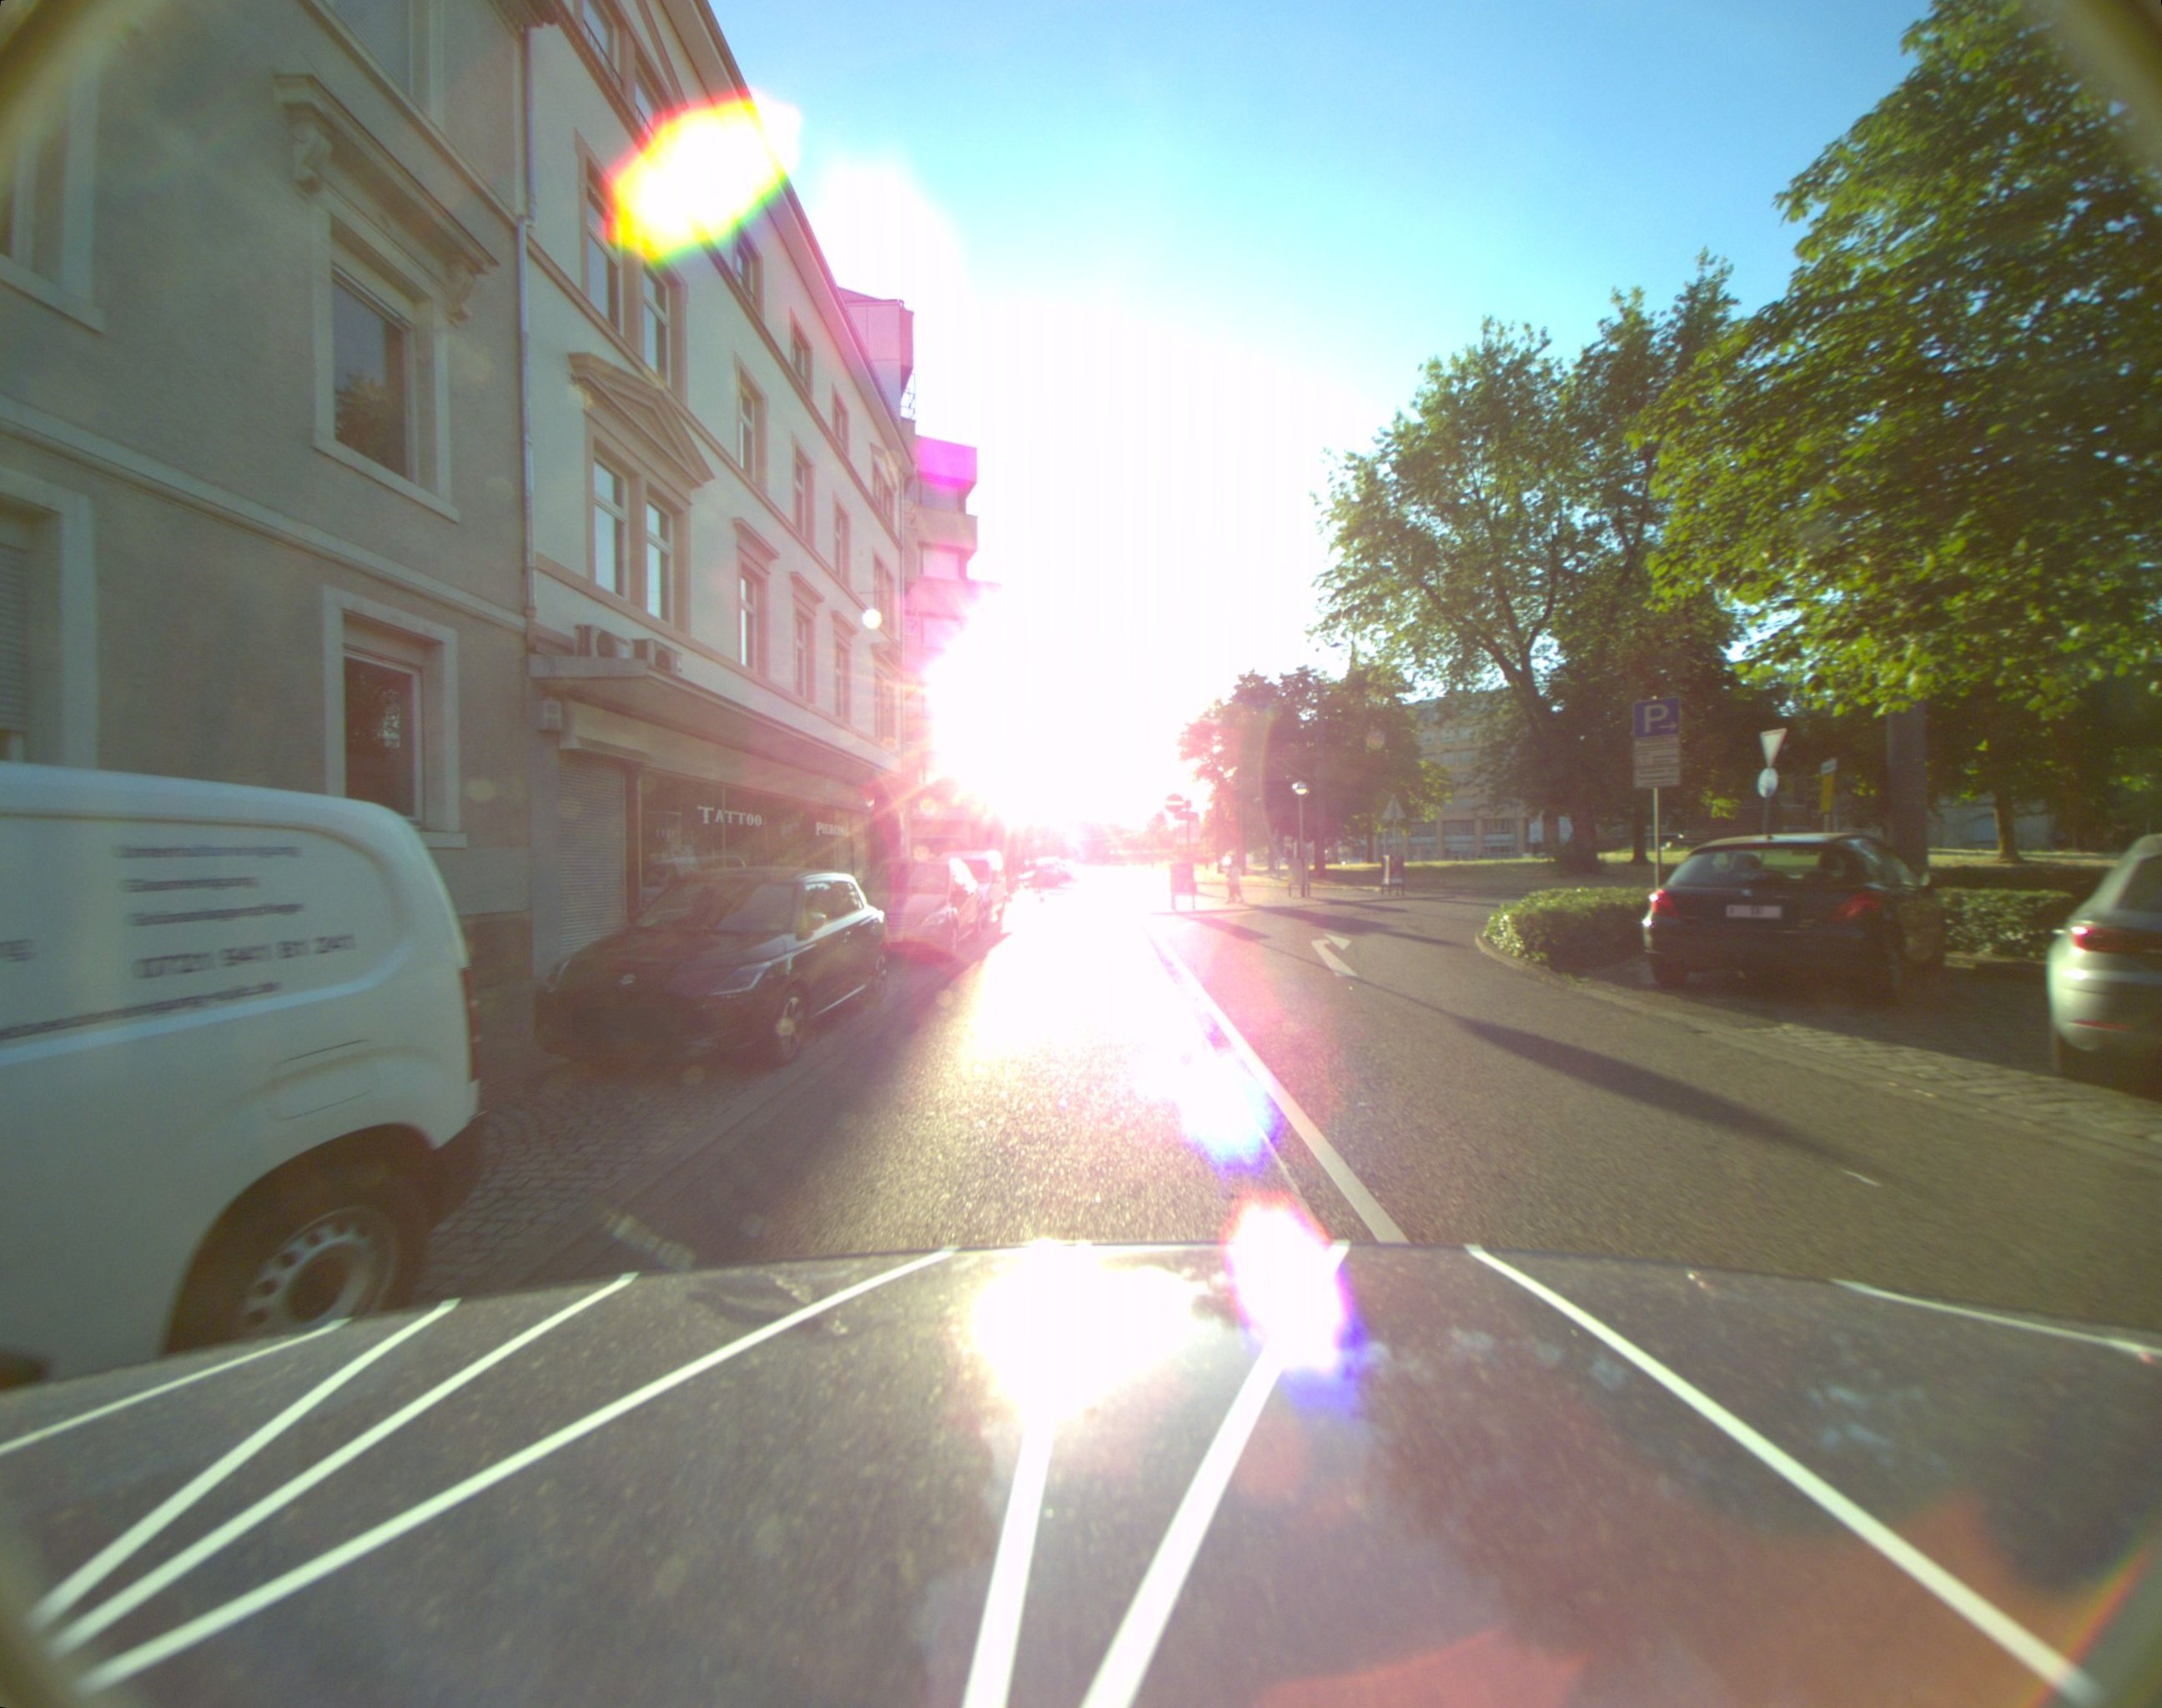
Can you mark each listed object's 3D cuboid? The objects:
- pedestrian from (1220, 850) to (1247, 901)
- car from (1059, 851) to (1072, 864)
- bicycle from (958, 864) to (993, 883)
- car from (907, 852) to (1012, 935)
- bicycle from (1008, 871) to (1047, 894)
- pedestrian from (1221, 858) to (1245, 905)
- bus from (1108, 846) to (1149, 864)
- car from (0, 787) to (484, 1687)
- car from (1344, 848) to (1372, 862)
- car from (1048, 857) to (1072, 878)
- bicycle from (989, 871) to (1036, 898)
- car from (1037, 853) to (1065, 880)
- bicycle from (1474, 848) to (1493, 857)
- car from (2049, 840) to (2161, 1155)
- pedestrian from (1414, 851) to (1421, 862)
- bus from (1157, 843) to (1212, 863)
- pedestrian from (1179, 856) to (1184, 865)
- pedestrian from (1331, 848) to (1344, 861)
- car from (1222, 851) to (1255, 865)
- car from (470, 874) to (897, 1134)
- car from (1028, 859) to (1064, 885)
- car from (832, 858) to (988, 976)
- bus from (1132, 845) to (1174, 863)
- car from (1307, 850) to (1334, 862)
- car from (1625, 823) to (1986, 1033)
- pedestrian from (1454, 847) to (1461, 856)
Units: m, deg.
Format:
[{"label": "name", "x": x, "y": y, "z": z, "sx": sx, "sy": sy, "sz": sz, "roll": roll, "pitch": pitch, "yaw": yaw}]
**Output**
[{"label": "pedestrian", "x": 4.729, "y": 0.663, "z": 23.474, "sx": 0.693, "sy": 1.550, "sz": 0.700, "roll": -2, "pitch": 0, "yaw": 18}, {"label": "car", "x": -1.965, "y": 0.473, "z": 97.093, "sx": 1.655, "sy": 1.525, "sz": 4.066, "roll": -2, "pitch": 0, "yaw": 0}, {"label": "bicycle", "x": -5.899, "y": 1.089, "z": 42.539, "sx": 1.896, "sy": 0.999, "sz": 0.457, "roll": 1, "pitch": 0, "yaw": -37}, {"label": "car", "x": -2.844, "y": 0.859, "z": 18.699, "sx": 1.797, "sy": 1.781, "sz": 4.092, "roll": -1, "pitch": 0, "yaw": 1}, {"label": "bicycle", "x": -2.436, "y": 1.269, "z": 34.482, "sx": 1.788, "sy": 0.984, "sz": 0.543, "roll": 1, "pitch": -1, "yaw": 35}, {"label": "pedestrian", "x": 4.542, "y": 0.807, "z": 22.685, "sx": 0.613, "sy": 1.356, "sz": 0.565, "roll": -2, "pitch": 0, "yaw": 14}, {"label": "bus", "x": 10.423, "y": 0.287, "z": 167.808, "sx": 3.765, "sy": 3.435, "sz": 12.110, "roll": -2, "pitch": 0, "yaw": -24}, {"label": "car", "x": -3.108, "y": 0.796, "z": 0.595, "sx": 1.714, "sy": 1.824, "sz": 4.307, "roll": -2, "pitch": 0, "yaw": 2}, {"label": "car", "x": 44.391, "y": 0.184, "z": 121.711, "sx": 1.858, "sy": 2.002, "sz": 3.903, "roll": -2, "pitch": 0, "yaw": -29}, {"label": "car", "x": -1.643, "y": 1.056, "z": 60.604, "sx": 1.645, "sy": 1.519, "sz": 4.001, "roll": -2, "pitch": 0, "yaw": 2}, {"label": "bicycle", "x": -2.727, "y": 1.208, "z": 30.298, "sx": 1.789, "sy": 0.984, "sz": 0.543, "roll": 1, "pitch": -1, "yaw": 24}, {"label": "car", "x": -2.140, "y": 0.910, "z": 55.277, "sx": 1.788, "sy": 1.794, "sz": 4.401, "roll": -2, "pitch": 0, "yaw": 0}, {"label": "bicycle", "x": 52.760, "y": -0.145, "z": 99.621, "sx": 2.194, "sy": 1.006, "sz": 0.473, "roll": 6, "pitch": 6, "yaw": 45}, {"label": "car", "x": 7.180, "y": 0.665, "z": 4.456, "sx": 4.007, "sy": 1.478, "sz": 1.828, "roll": -2, "pitch": 0, "yaw": -38}, {"label": "pedestrian", "x": 51.218, "y": 0.337, "z": 115.633, "sx": 0.532, "sy": 1.682, "sz": 0.617, "roll": -2, "pitch": 0, "yaw": -16}, {"label": "bus", "x": 19.711, "y": -0.088, "z": 146.426, "sx": 3.765, "sy": 3.342, "sz": 13.689, "roll": -2, "pitch": 0, "yaw": -23}, {"label": "pedestrian", "x": 16.520, "y": 0.995, "z": 125.219, "sx": 0.672, "sy": 1.450, "sz": 0.699, "roll": -2, "pitch": 0, "yaw": -3}, {"label": "pedestrian", "x": 41.388, "y": 0.077, "z": 122.576, "sx": 1.061, "sy": 2.082, "sz": 1.630, "roll": -2, "pitch": 0, "yaw": -28}, {"label": "car", "x": 35.336, "y": 0.909, "z": 170.489, "sx": 7.209, "sy": 2.860, "sz": 2.305, "roll": -1, "pitch": -1, "yaw": -22}, {"label": "car", "x": -3.001, "y": 1.010, "z": 6.781, "sx": 1.671, "sy": 1.535, "sz": 3.883, "roll": -2, "pitch": 0, "yaw": 1}, {"label": "car", "x": -2.119, "y": 1.064, "z": 46.914, "sx": 1.794, "sy": 1.498, "sz": 3.921, "roll": -2, "pitch": 0, "yaw": 2}, {"label": "car", "x": -2.732, "y": 0.930, "z": 13.083, "sx": 1.661, "sy": 1.655, "sz": 4.108, "roll": -2, "pitch": 0, "yaw": 0}, {"label": "bus", "x": 14.820, "y": 0.108, "z": 157.662, "sx": 3.765, "sy": 3.311, "sz": 10.717, "roll": -2, "pitch": 0, "yaw": -24}, {"label": "car", "x": 40.701, "y": 0.333, "z": 129.193, "sx": 1.914, "sy": 2.002, "sz": 3.991, "roll": -2, "pitch": 0, "yaw": -29}, {"label": "car", "x": 7.399, "y": 0.547, "z": 7.673, "sx": 3.890, "sy": 1.573, "sz": 1.798, "roll": -2, "pitch": 0, "yaw": -34}, {"label": "pedestrian", "x": 53.860, "y": -0.361, "z": 108.659, "sx": 0.568, "sy": 1.316, "sz": 0.682, "roll": -2, "pitch": 0, "yaw": -21}]
